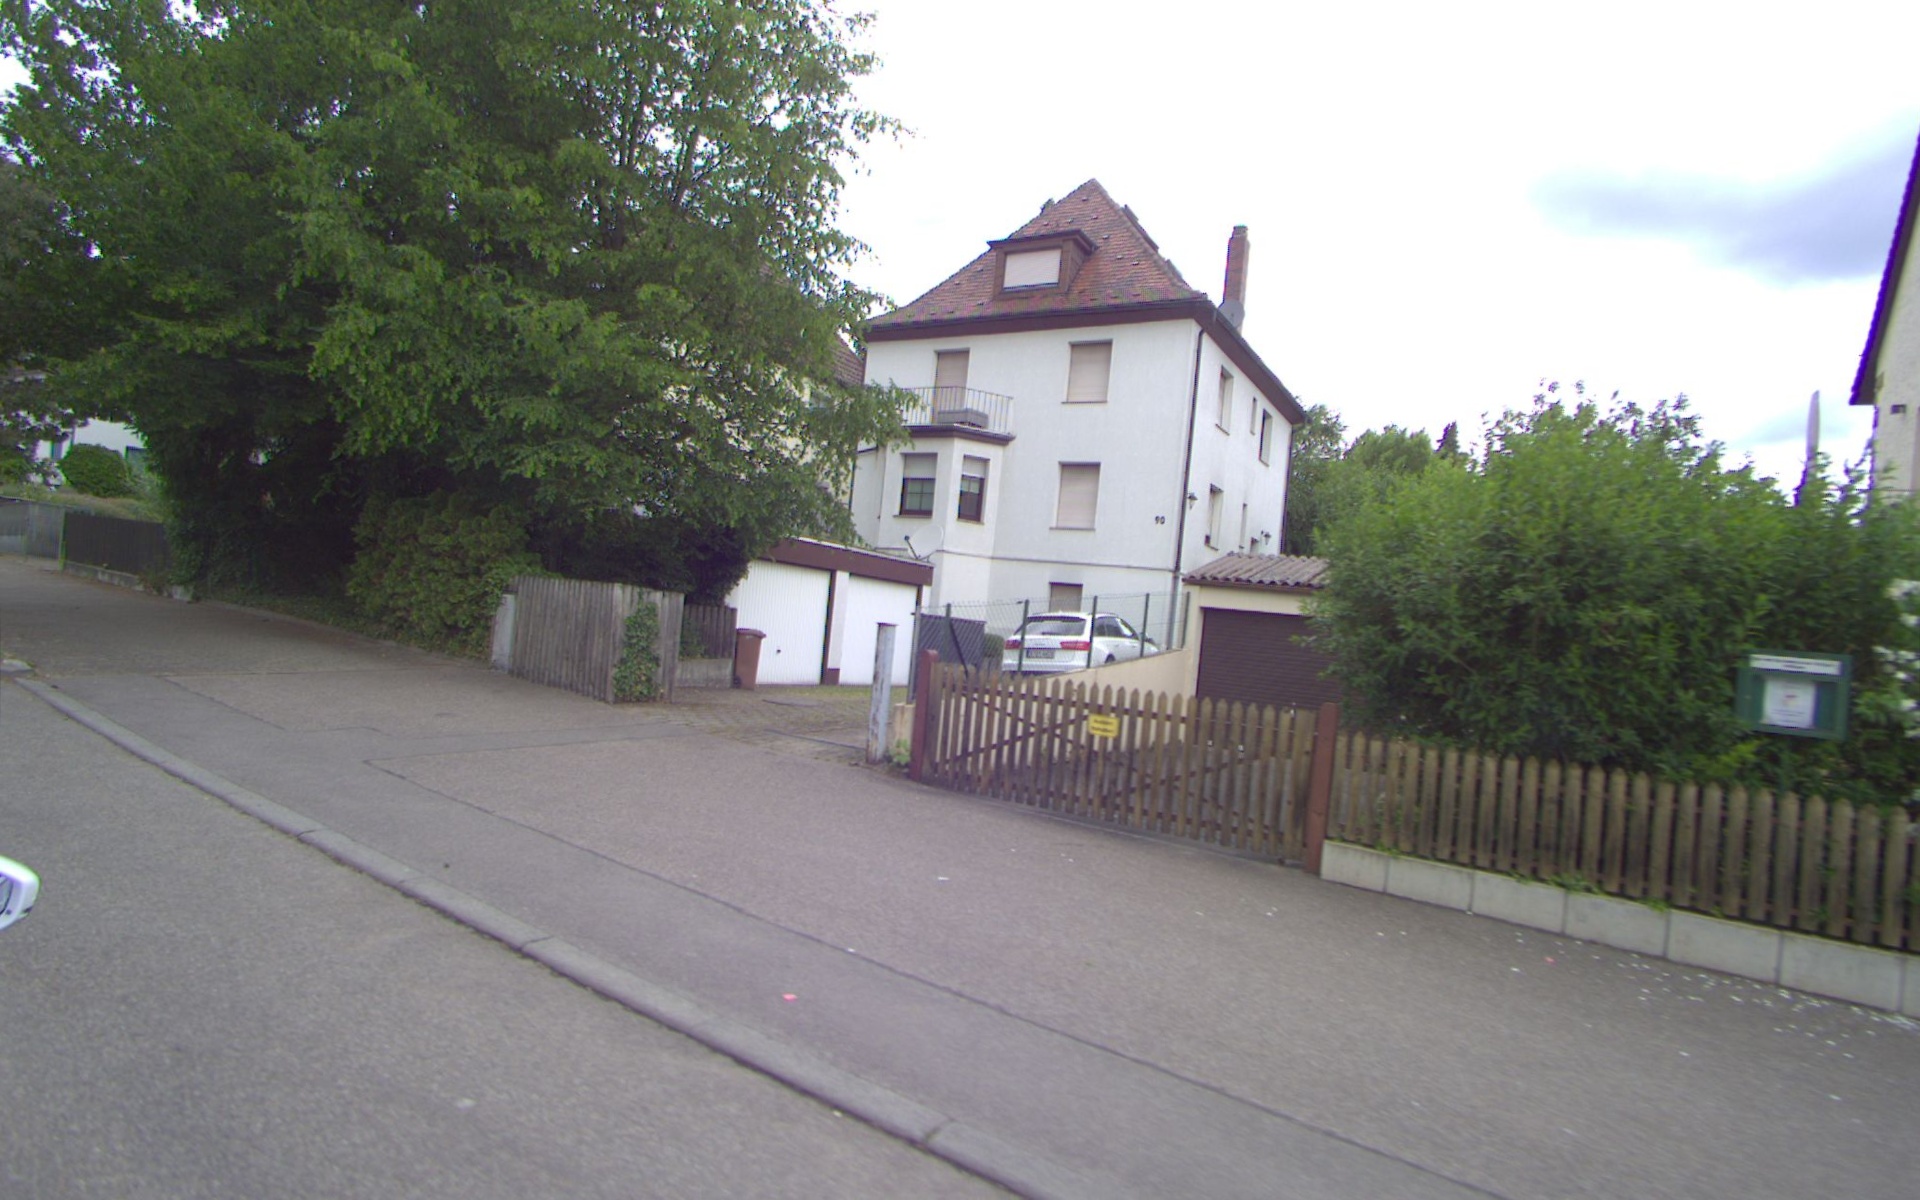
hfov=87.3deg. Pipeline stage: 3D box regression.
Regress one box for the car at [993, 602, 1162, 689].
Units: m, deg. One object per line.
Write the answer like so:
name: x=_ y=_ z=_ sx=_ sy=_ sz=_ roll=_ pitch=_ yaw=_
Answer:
car: x=2.299 y=0.884 z=18.607 sx=1.804 sy=1.411 sz=4.091 roll=0 pitch=-4 yaw=27
